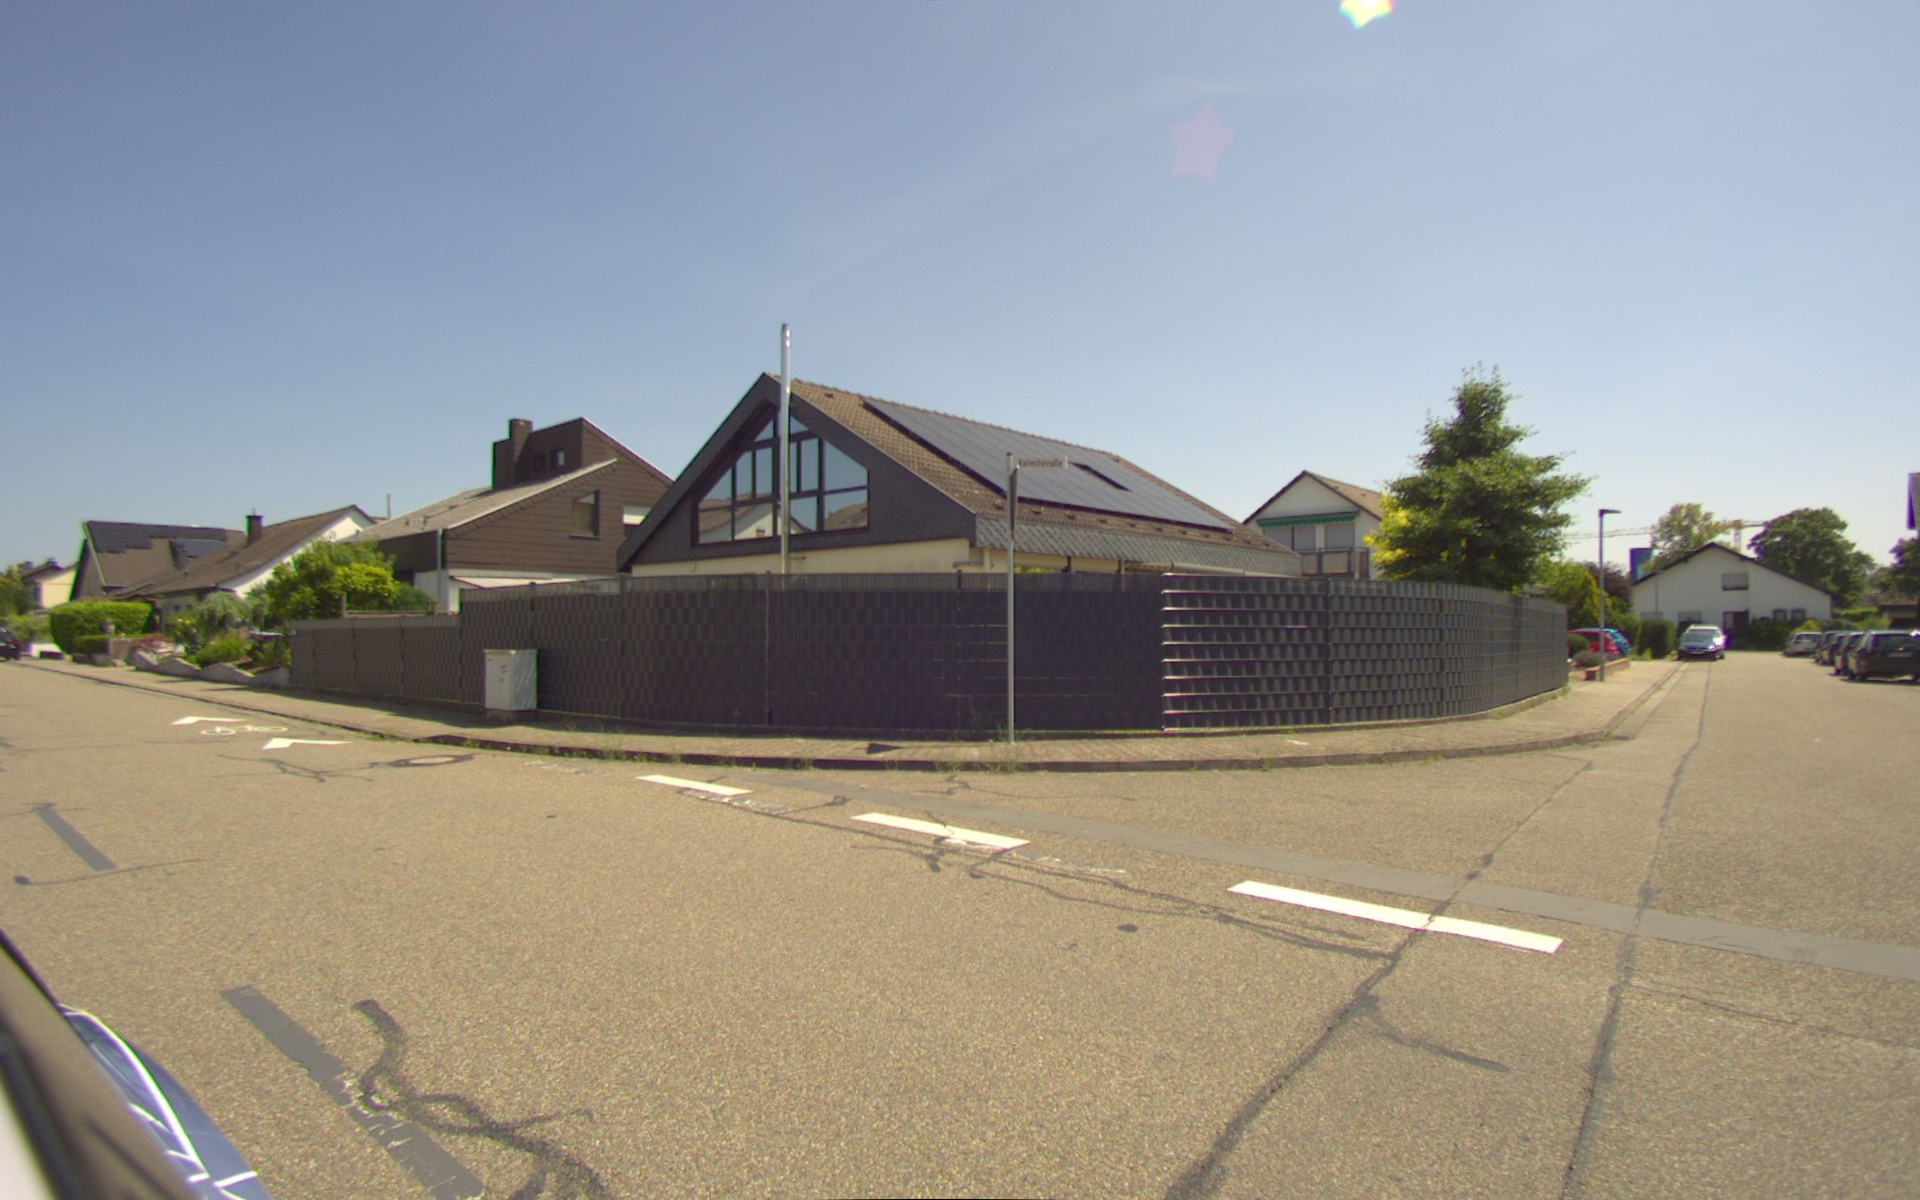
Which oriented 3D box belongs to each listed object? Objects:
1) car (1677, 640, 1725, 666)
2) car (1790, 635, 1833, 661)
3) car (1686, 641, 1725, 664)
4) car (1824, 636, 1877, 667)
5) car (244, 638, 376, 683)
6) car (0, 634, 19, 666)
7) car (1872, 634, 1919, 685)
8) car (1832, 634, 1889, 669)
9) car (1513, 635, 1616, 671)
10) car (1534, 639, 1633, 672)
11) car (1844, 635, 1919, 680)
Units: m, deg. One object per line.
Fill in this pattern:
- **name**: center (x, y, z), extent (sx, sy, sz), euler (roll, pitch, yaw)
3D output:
- **car**: center (37.270, 2.634, 50.862), extent (1.705, 1.254, 3.903), euler (-2, -3, 39)
- **car**: center (48.649, 2.745, 57.798), extent (1.773, 1.424, 3.944), euler (-2, -3, 42)
- **car**: center (39.986, 2.804, 54.252), extent (1.496, 1.179, 3.385), euler (-2, -3, 39)
- **car**: center (42.209, 2.431, 47.979), extent (1.773, 1.424, 3.944), euler (-2, -3, 42)
- **car**: center (-25.424, 2.323, 39.665), extent (1.901, 1.697, 3.947), euler (-2, -3, 39)
- **car**: center (-43.723, 2.239, 45.537), extent (4.001, 1.409, 1.783), euler (-2, -3, 44)
- **car**: center (27.951, 1.712, 29.651), extent (1.773, 1.424, 3.944), euler (-2, -3, 42)
- **car**: center (39.174, 2.224, 44.052), extent (1.773, 1.424, 3.944), euler (-2, -3, 42)
- **car**: center (27.794, 2.419, 46.578), extent (3.951, 1.599, 1.738), euler (-2, -3, 35)
- **car**: center (29.910, 2.643, 48.583), extent (3.910, 1.497, 1.659), euler (-2, -3, 36)
- **car**: center (31.266, 1.925, 34.375), extent (1.773, 1.424, 3.944), euler (-2, -3, 42)
